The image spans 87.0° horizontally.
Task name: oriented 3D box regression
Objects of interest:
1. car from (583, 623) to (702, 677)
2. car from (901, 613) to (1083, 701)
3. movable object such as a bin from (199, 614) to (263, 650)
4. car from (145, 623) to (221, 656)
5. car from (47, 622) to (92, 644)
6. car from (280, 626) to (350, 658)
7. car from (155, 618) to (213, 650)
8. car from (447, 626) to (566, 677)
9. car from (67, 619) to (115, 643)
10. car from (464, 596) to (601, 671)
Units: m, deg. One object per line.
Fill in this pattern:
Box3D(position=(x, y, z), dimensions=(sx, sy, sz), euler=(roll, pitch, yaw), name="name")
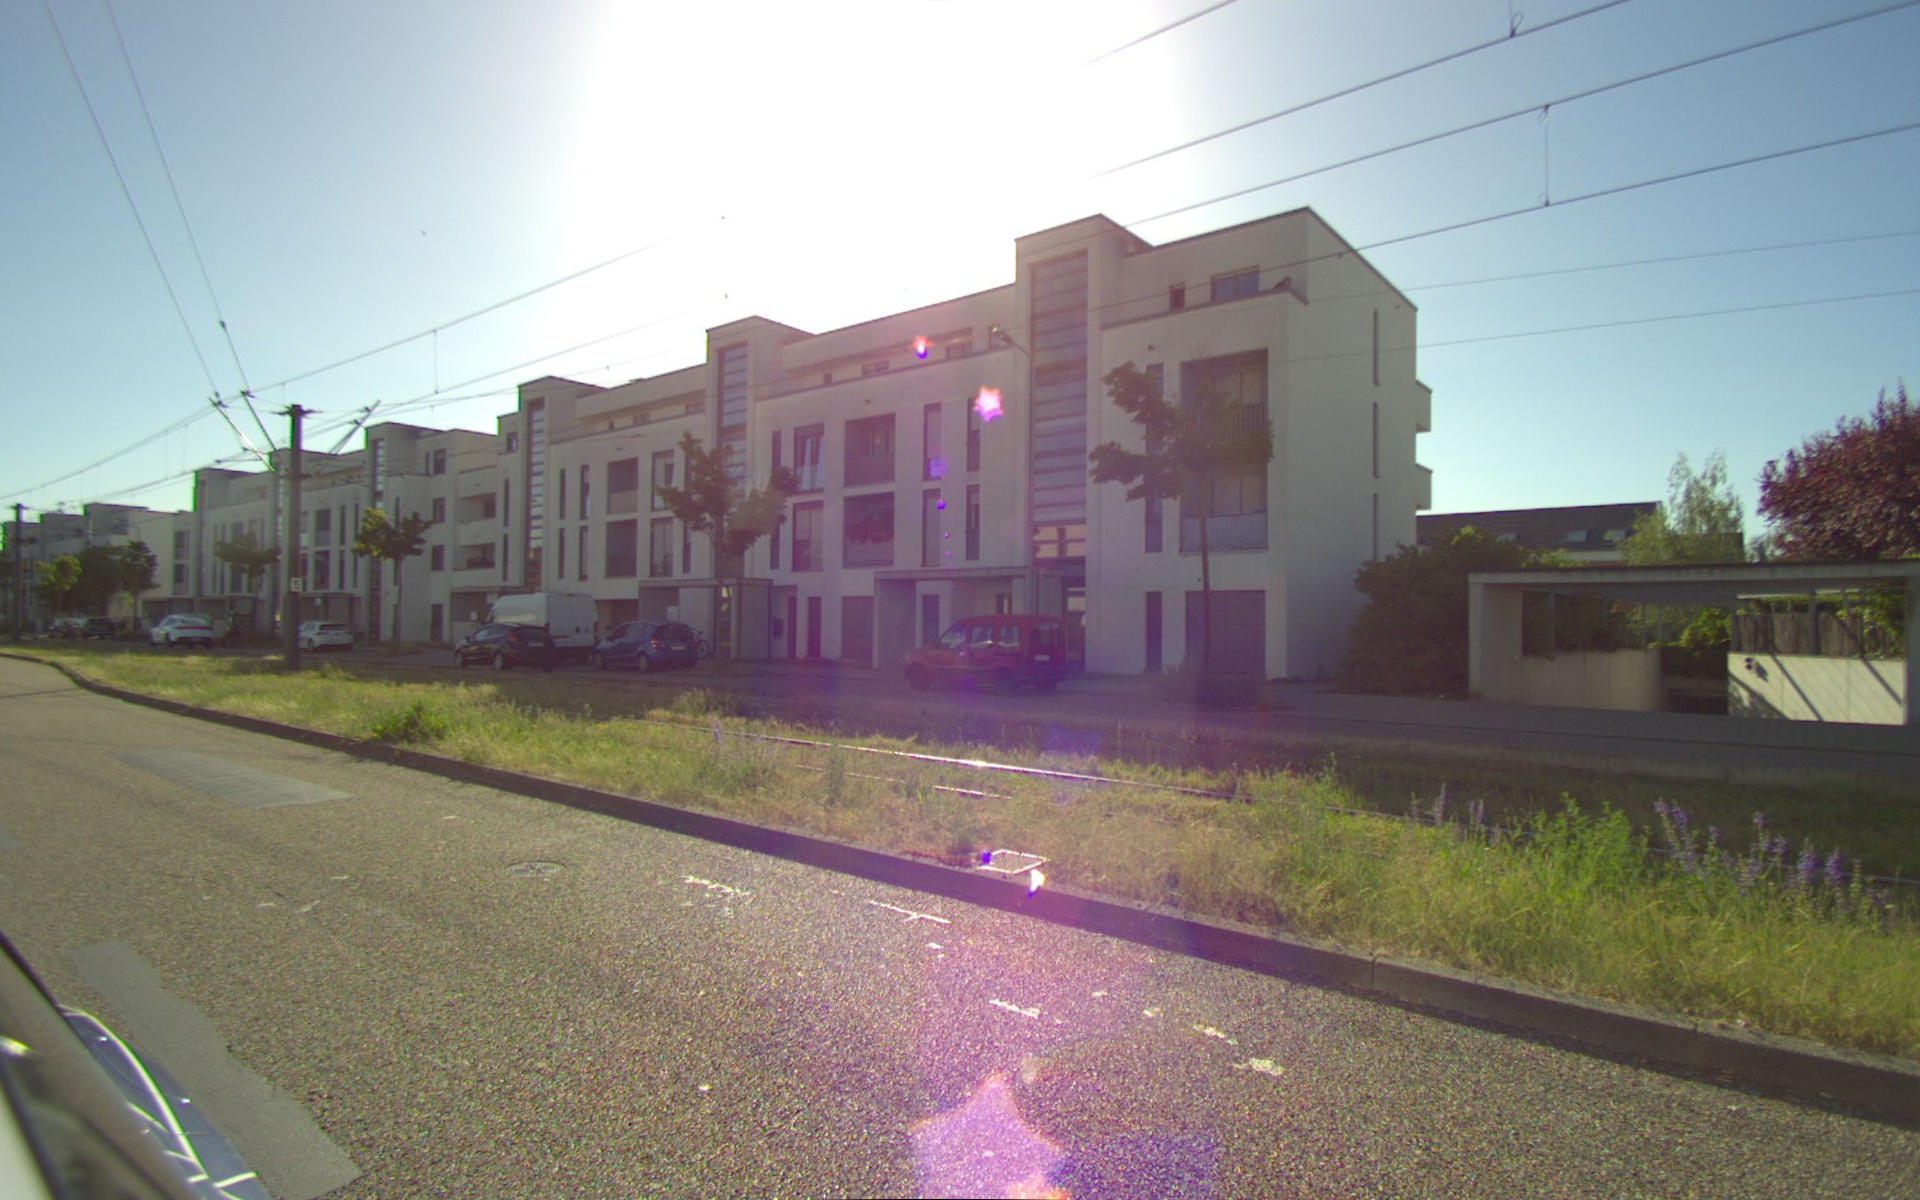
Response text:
Box3D(position=(-9.926, 1.512, 31.535), dimensions=(3.840, 1.548, 1.805), euler=(-1, -1, 41), name="car")
Box3D(position=(0.670, 1.216, 22.906), dimensions=(3.836, 1.809, 1.861), euler=(-1, -1, 42), name="car")
Box3D(position=(-40.608, 1.770, 56.343), dimensions=(4.149, 1.952, 1.745), euler=(-1, -1, 37), name="movable object such as a bin")
Box3D(position=(-39.983, 2.020, 52.057), dimensions=(4.641, 1.608, 1.974), euler=(-1, -4, 39), name="car")
Box3D(position=(-67.472, 2.508, 76.666), dimensions=(4.149, 1.611, 1.745), euler=(-1, -1, 37), name="car")
Box3D(position=(-31.137, 2.014, 48.820), dimensions=(4.149, 1.443, 1.503), euler=(-1, -1, 37), name="car")
Box3D(position=(-47.175, 2.061, 61.495), dimensions=(4.149, 1.884, 1.745), euler=(-1, -1, 37), name="car")
Box3D(position=(-13.713, 1.526, 30.537), dimensions=(3.999, 1.429, 1.769), euler=(-1, -4, 42), name="car")
Box3D(position=(-62.953, 2.230, 73.299), dimensions=(4.149, 1.611, 1.745), euler=(-1, -1, 37), name="car")
Box3D(position=(-15.278, 1.161, 36.042), dimensions=(5.583, 2.463, 2.119), euler=(-1, -1, 39), name="car")
